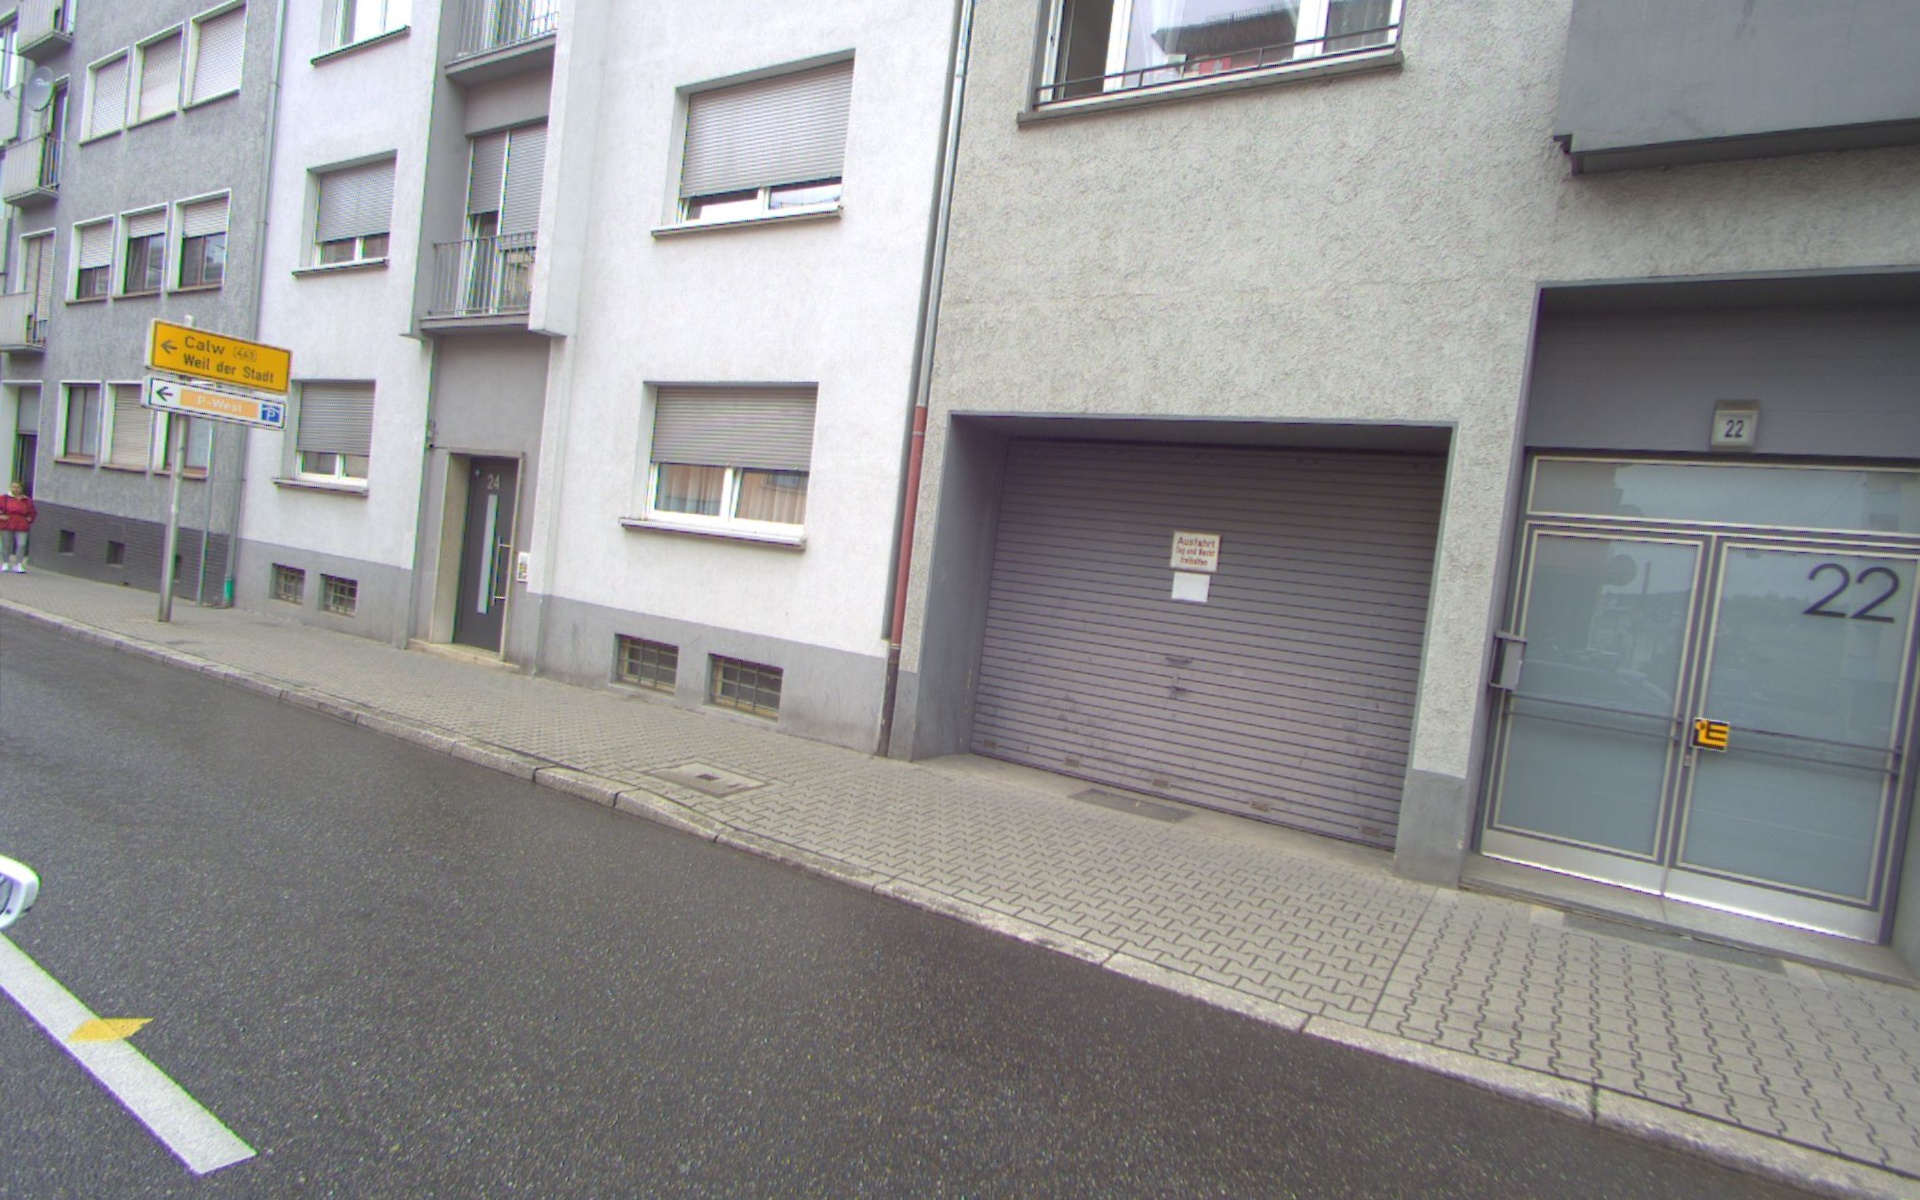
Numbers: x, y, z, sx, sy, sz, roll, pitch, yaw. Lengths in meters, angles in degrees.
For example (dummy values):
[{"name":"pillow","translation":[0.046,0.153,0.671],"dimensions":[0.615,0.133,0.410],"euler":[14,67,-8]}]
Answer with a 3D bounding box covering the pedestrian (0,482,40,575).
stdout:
[{"name":"pedestrian","translation":[-16.833,-1.264,17.889],"dimensions":[0.517,1.600,0.560],"euler":[7,4,31]}]
